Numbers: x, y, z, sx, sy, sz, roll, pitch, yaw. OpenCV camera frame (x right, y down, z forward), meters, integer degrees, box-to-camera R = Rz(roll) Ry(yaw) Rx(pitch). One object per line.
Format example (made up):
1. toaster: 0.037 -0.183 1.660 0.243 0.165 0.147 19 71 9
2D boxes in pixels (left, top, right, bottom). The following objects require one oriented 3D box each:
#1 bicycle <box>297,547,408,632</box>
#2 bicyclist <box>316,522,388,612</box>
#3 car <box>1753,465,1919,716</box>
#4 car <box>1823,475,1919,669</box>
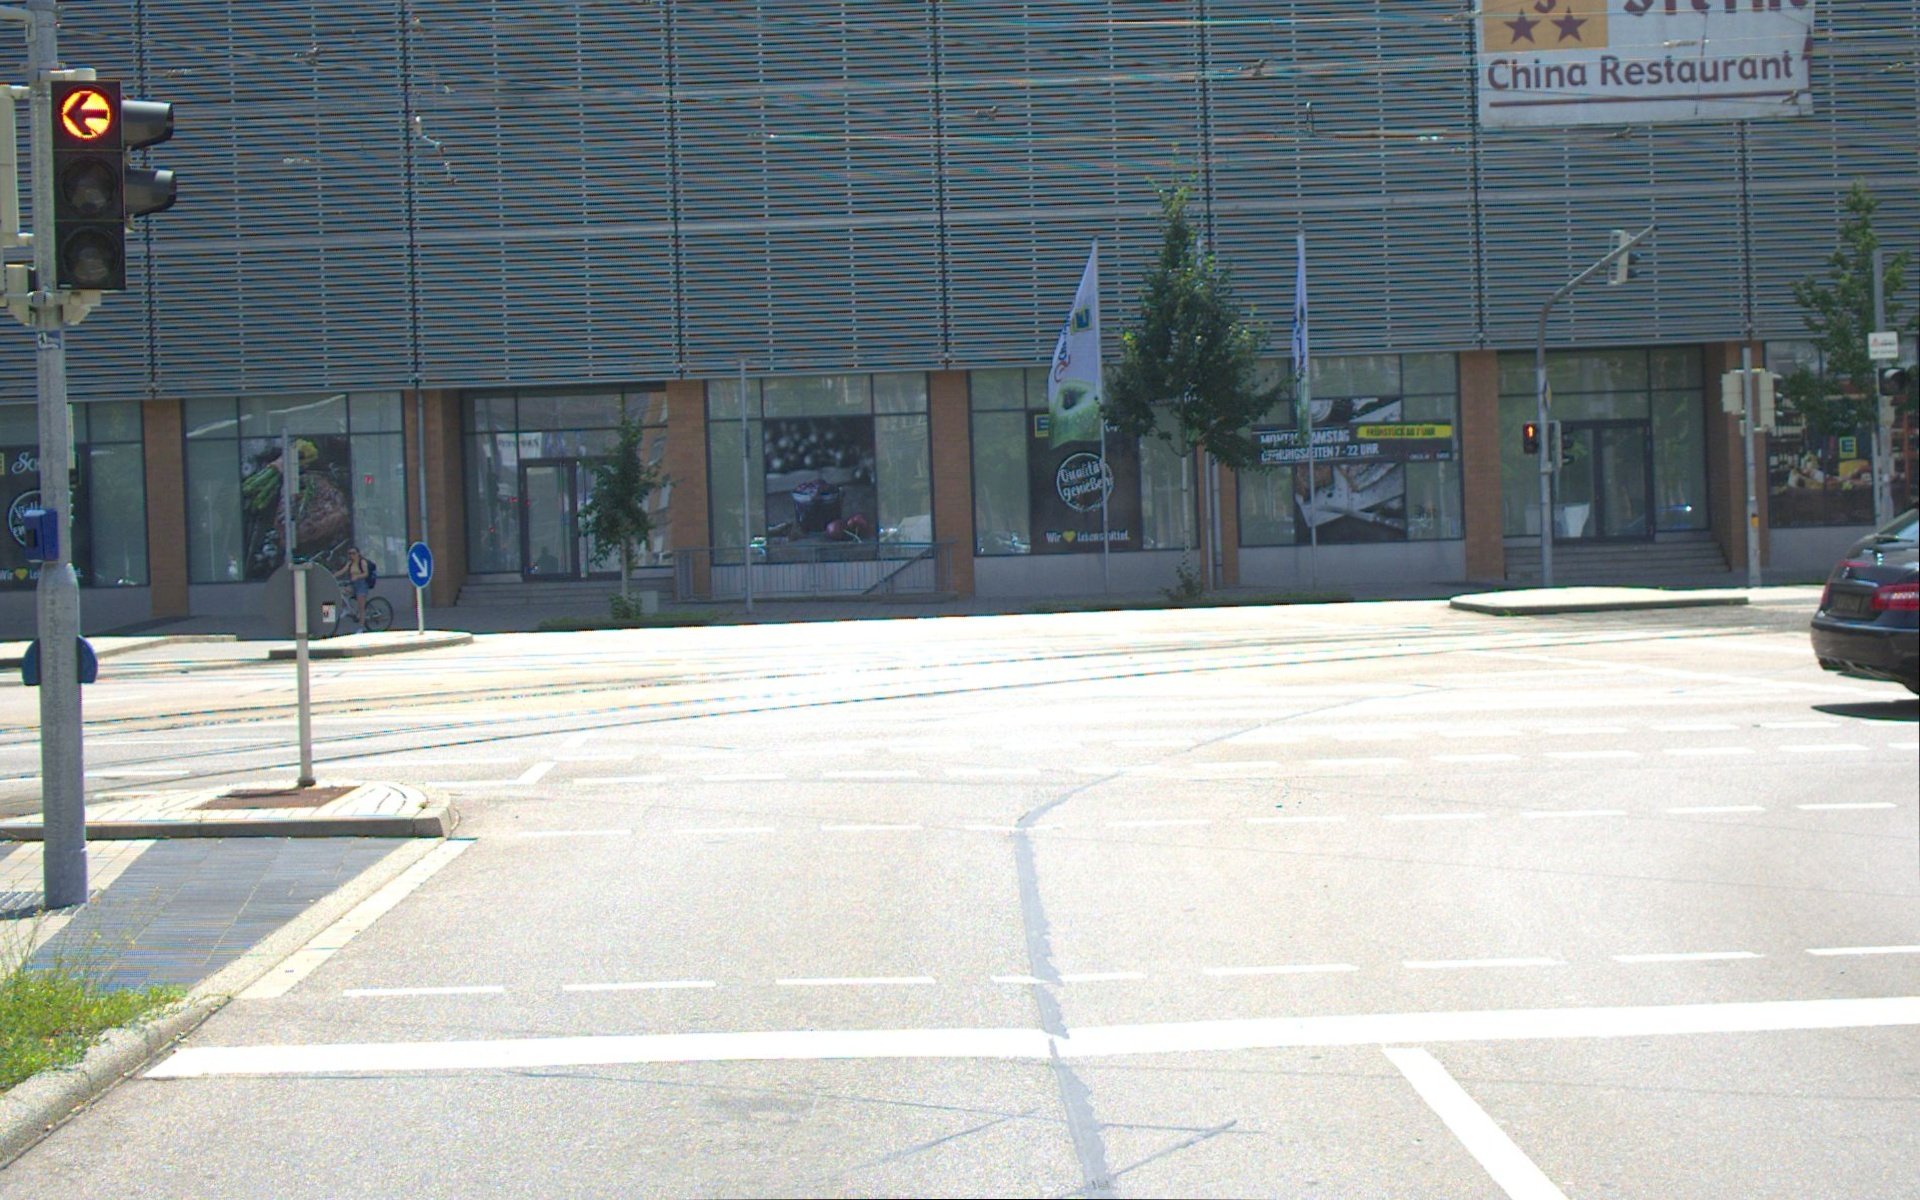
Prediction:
1. bicycle: -10.736 -0.206 60.893 1.062 1.385 3.023 -1 2 7
2. bicyclist: -10.753 -0.585 60.789 1.040 1.566 0.777 -1 2 7
3. car: 7.905 -0.179 23.152 4.548 1.571 2.000 -3 2 -4
4. car: 9.392 -0.277 26.919 4.764 1.455 1.888 -1 2 -2
